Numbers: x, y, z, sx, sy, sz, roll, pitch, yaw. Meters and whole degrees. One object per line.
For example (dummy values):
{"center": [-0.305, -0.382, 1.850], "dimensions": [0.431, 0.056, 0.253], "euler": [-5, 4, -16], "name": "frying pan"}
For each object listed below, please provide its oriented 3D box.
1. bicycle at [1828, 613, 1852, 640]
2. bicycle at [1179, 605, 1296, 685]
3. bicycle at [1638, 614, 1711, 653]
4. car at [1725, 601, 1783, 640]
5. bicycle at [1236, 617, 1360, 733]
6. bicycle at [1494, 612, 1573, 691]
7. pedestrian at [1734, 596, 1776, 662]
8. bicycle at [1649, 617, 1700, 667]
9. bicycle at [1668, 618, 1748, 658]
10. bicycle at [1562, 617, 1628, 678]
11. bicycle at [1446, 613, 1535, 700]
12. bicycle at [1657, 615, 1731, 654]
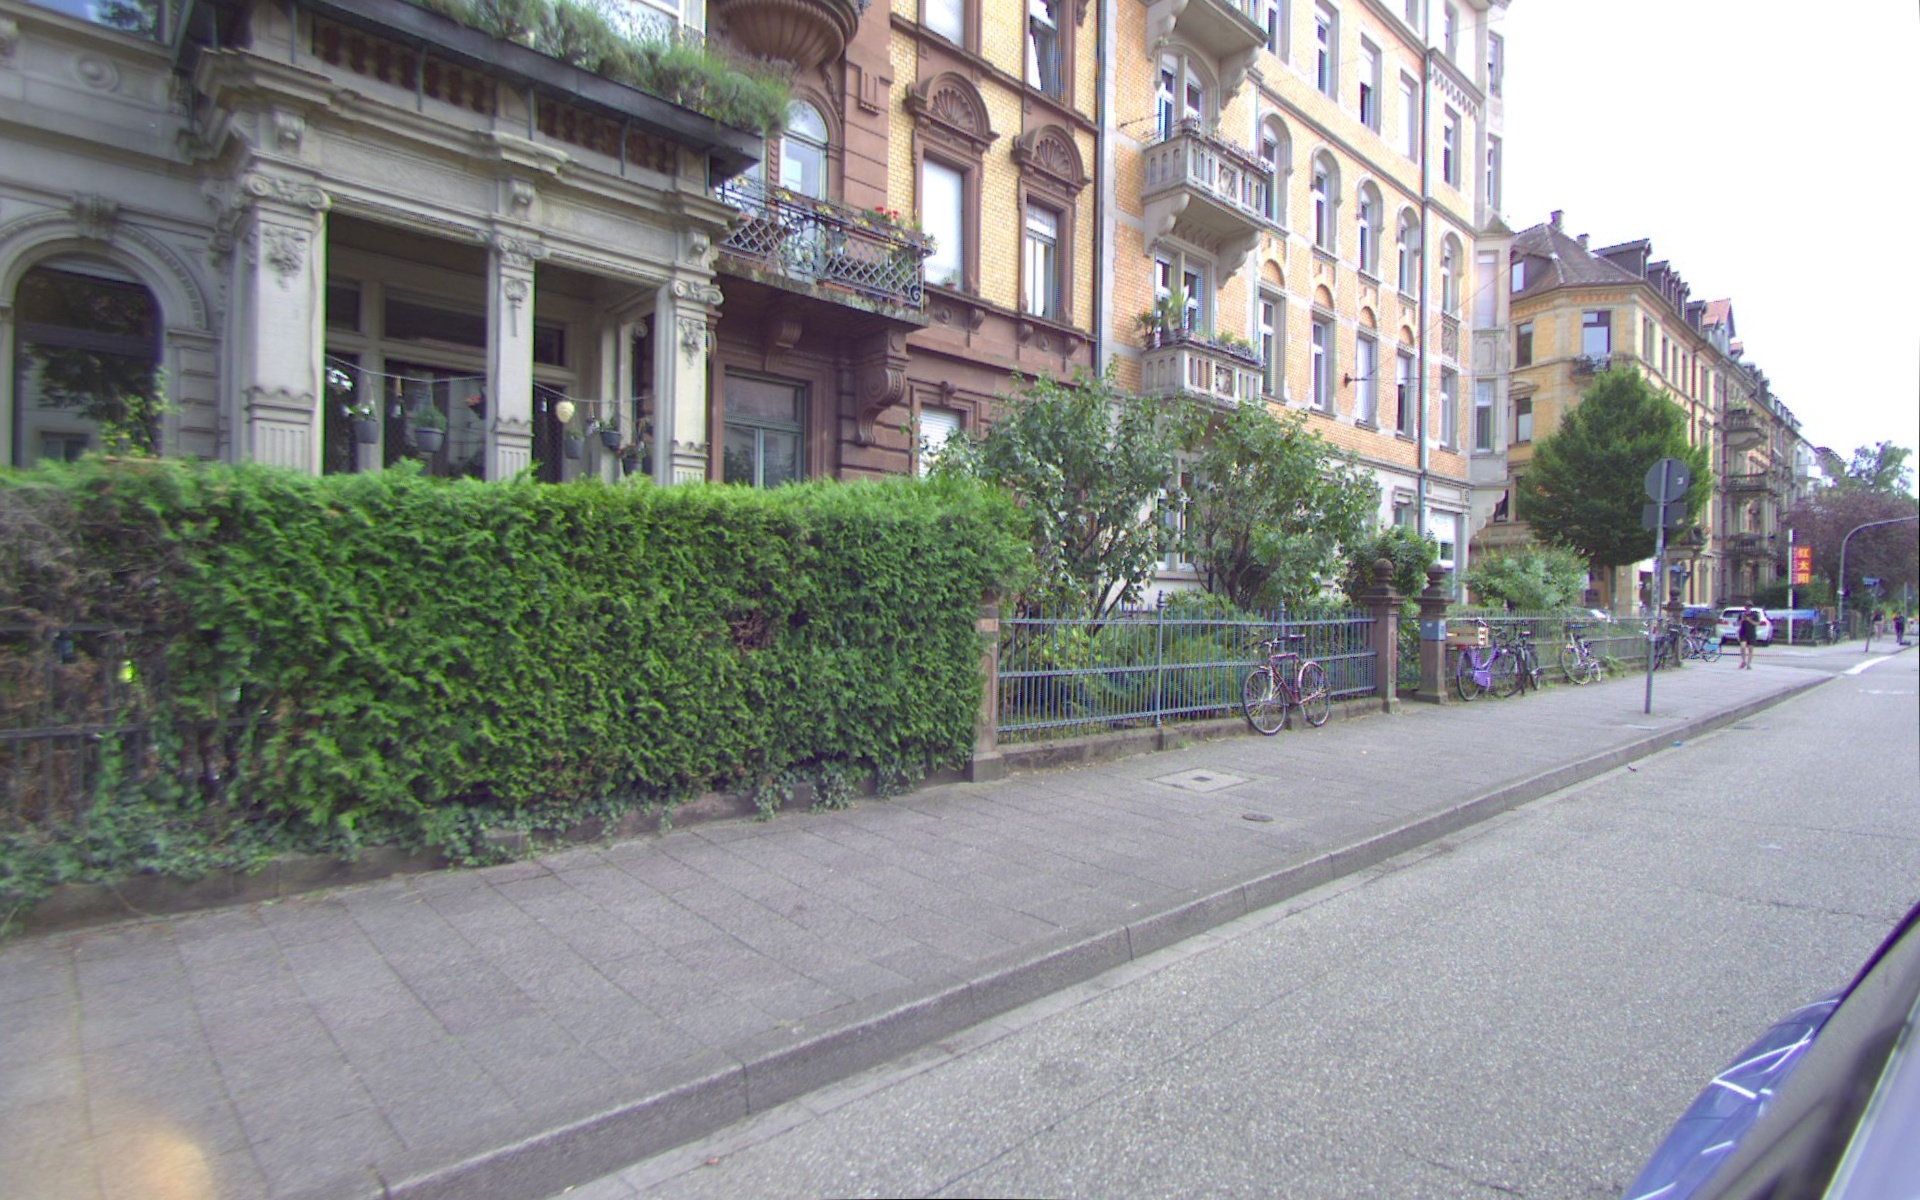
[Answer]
{"center": [38.907, 1.153, 44.739], "dimensions": [1.842, 1.127, 0.630], "euler": [1, 0, -43], "name": "bicycle"}
{"center": [4.273, 0.662, 15.658], "dimensions": [0.601, 1.126, 1.668], "euler": [1, 0, -44], "name": "bicycle"}
{"center": [22.463, 1.038, 31.855], "dimensions": [0.521, 1.142, 1.897], "euler": [1, 0, -22], "name": "bicycle"}
{"center": [33.295, 0.826, 42.414], "dimensions": [1.750, 1.544, 3.941], "euler": [1, 0, 41], "name": "car"}
{"center": [3.656, 0.760, 10.879], "dimensions": [1.644, 1.126, 0.579], "euler": [1, 0, -45], "name": "bicycle"}
{"center": [8.954, 0.770, 15.767], "dimensions": [1.644, 1.125, 0.579], "euler": [1, 4, -45], "name": "bicycle"}
{"center": [20.098, 0.722, 25.585], "dimensions": [0.821, 1.644, 0.731], "euler": [1, 0, -44], "name": "pedestrian"}
{"center": [15.713, 0.909, 22.251], "dimensions": [1.644, 0.995, 0.579], "euler": [1, 4, -45], "name": "bicycle"}
{"center": [21.755, 1.102, 29.451], "dimensions": [1.838, 1.127, 0.631], "euler": [1, 0, 0], "name": "bicycle"}
{"center": [11.487, 0.842, 18.291], "dimensions": [1.644, 0.995, 0.579], "euler": [1, 4, -45], "name": "bicycle"}
{"center": [7.565, 0.771, 14.411], "dimensions": [1.644, 1.125, 0.579], "euler": [1, 4, -45], "name": "bicycle"}
{"center": [23.433, 1.082, 32.337], "dimensions": [0.522, 1.142, 1.897], "euler": [1, 0, -26], "name": "bicycle"}
